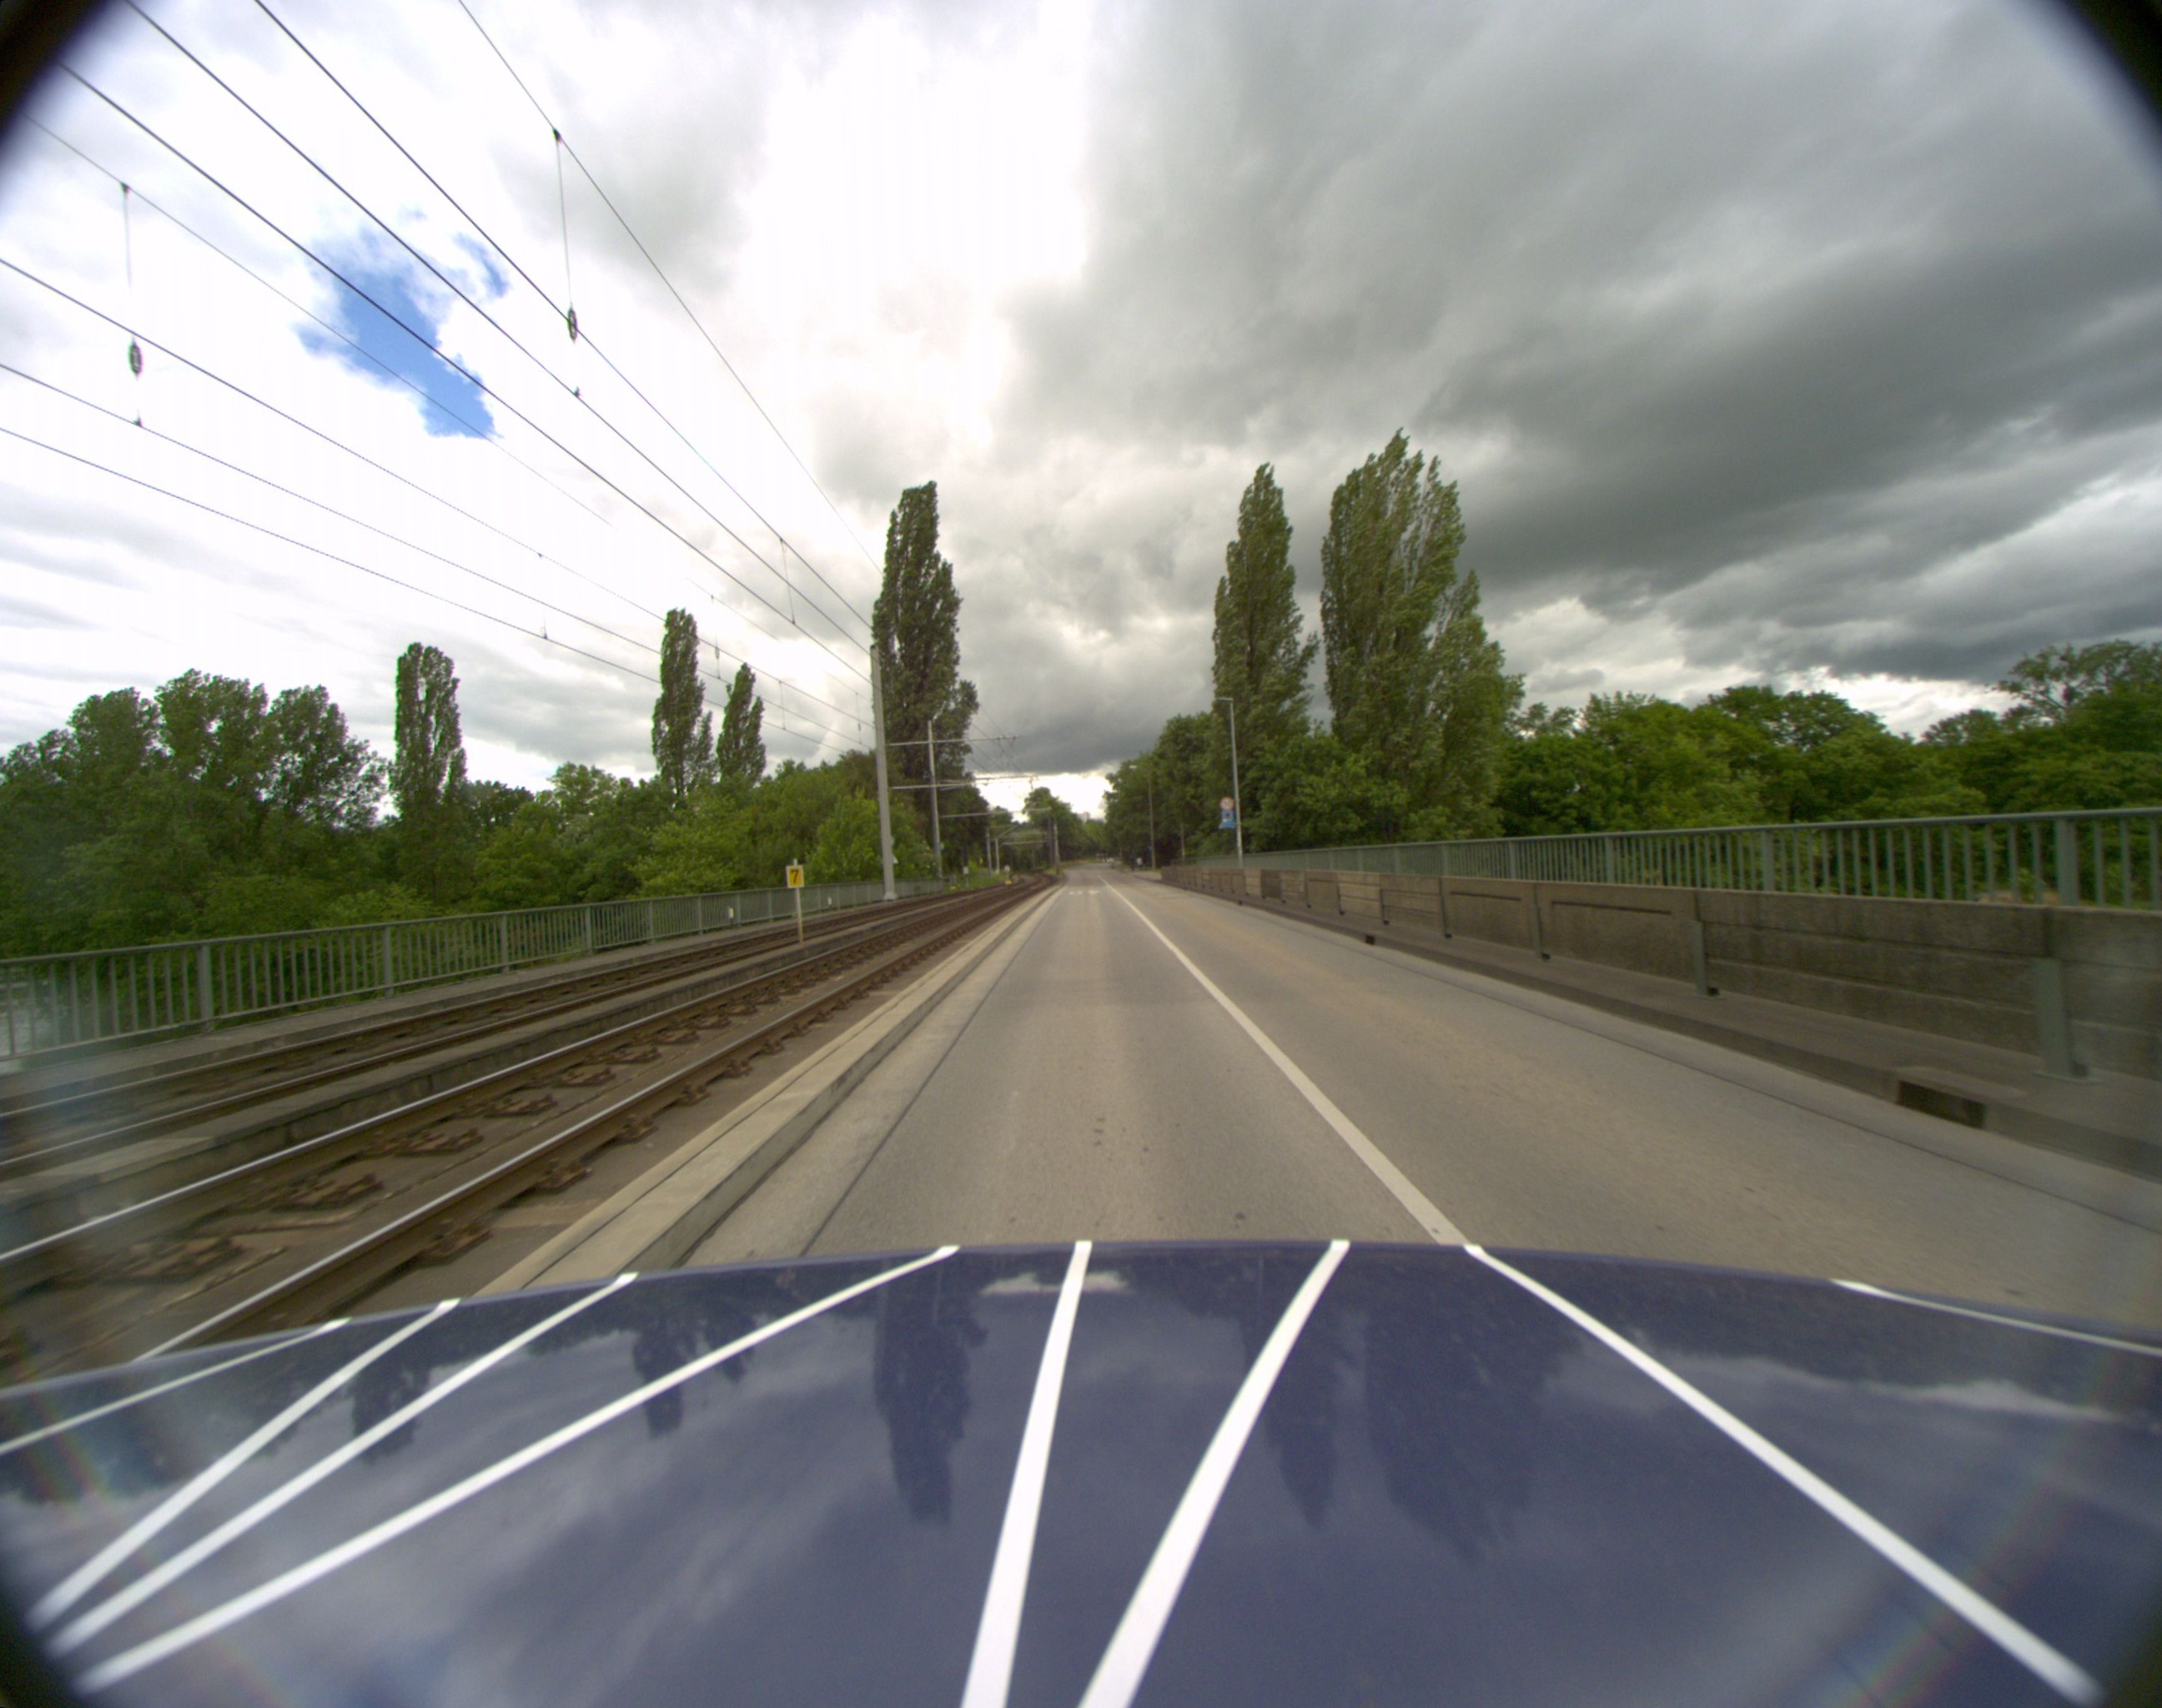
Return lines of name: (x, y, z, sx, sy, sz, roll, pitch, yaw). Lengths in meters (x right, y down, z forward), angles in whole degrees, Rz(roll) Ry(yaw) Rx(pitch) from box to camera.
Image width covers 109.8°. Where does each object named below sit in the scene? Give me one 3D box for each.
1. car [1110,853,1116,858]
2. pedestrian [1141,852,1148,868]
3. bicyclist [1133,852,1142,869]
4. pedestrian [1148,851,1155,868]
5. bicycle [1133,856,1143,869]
car: (10.192, 0.591, 241.004, 1.799, 1.483, 4.180, -1, 0, 0)
pedestrian: (7.219, 0.734, 86.195, 0.552, 1.755, 0.858, -7, 0, -1)
bicyclist: (6.382, 0.716, 85.773, 0.688, 1.937, 0.835, -4, 0, -4)
pedestrian: (7.978, 0.622, 86.336, 0.588, 1.792, 0.822, -5, 0, -1)
bicycle: (6.429, 0.903, 85.310, 0.700, 1.324, 2.279, -5, 3, -4)
